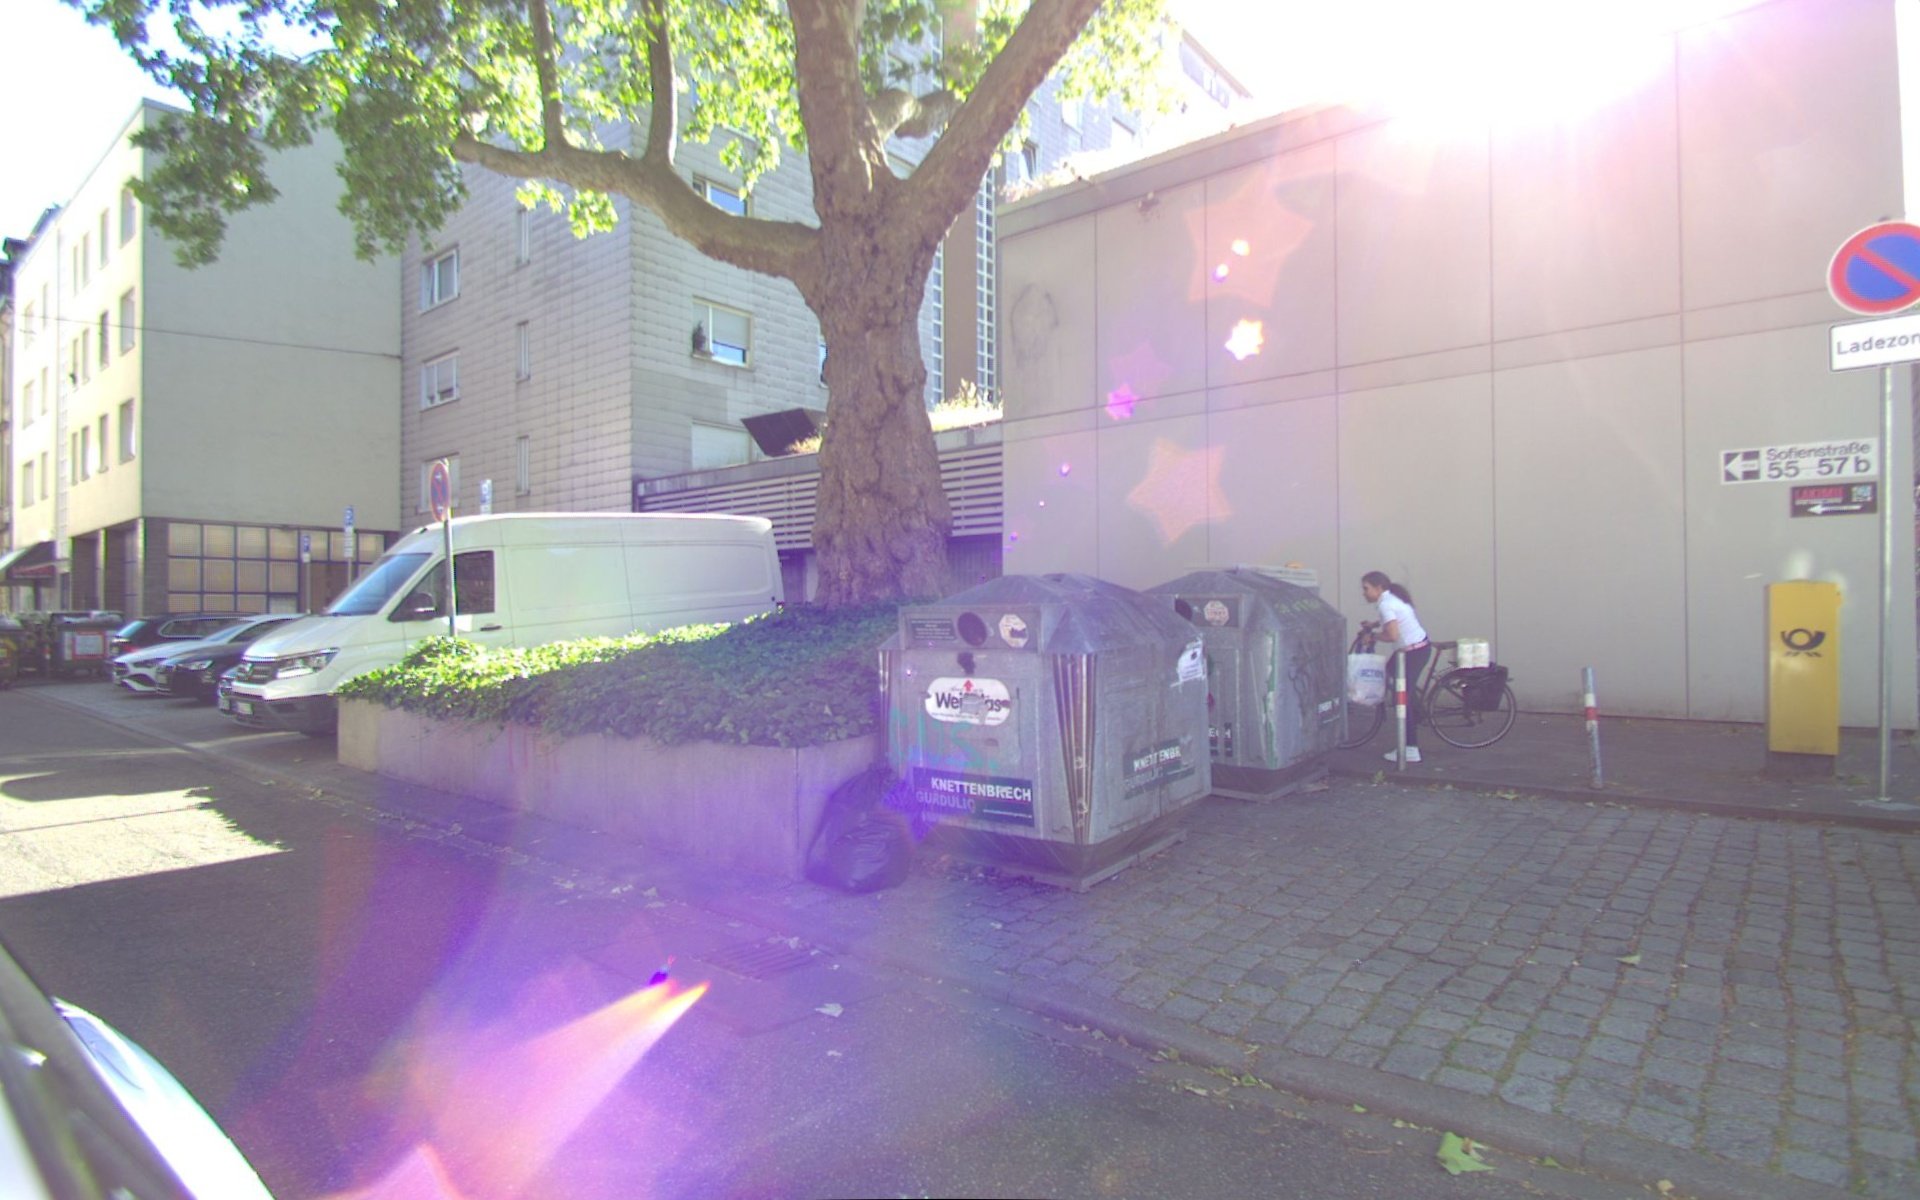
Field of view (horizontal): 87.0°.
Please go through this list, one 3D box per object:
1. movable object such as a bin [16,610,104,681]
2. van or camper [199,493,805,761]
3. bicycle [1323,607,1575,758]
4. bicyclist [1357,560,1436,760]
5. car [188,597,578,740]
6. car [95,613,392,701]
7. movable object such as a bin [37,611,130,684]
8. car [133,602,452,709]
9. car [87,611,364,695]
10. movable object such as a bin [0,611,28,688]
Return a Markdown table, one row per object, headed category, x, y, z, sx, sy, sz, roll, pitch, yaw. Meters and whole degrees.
| category | x | y | z | sx | sy | sz | roll | pitch | yaw |
| --- | --- | --- | --- | --- | --- | --- | --- | --- | --- |
| movable object such as a bin | -20.051 | 0.991 | 22.554 | 1.515 | 1.512 | 1.207 | -1 | -1 | 38 |
| van or camper | -5.323 | 0.125 | 13.054 | 1.999 | 2.593 | 6.836 | -2 | 2 | 40 |
| bicycle | 4.022 | 0.673 | 8.462 | 1.698 | 1.162 | 0.803 | -2 | 0 | 10 |
| bicyclist | 3.640 | 0.476 | 8.477 | 0.530 | 1.596 | 0.701 | -1 | 0 | 19 |
| car | -7.762 | 0.802 | 14.015 | 1.697 | 1.545 | 4.361 | -1 | 1 | 39 |
| car | -13.508 | 1.010 | 19.364 | 1.595 | 1.474 | 4.367 | -2 | -1 | 34 |
| movable object such as a bin | -18.839 | 0.989 | 21.755 | 1.193 | 1.512 | 1.312 | -1 | -1 | 38 |
| car | -11.465 | 0.876 | 17.706 | 1.694 | 1.629 | 4.367 | -1 | -1 | 34 |
| car | -15.085 | 1.017 | 21.029 | 1.694 | 1.545 | 4.367 | -2 | -1 | 34 |
| movable object such as a bin | -20.311 | 1.055 | 20.876 | 1.875 | 1.511 | 1.226 | -1 | 4 | 39 |
